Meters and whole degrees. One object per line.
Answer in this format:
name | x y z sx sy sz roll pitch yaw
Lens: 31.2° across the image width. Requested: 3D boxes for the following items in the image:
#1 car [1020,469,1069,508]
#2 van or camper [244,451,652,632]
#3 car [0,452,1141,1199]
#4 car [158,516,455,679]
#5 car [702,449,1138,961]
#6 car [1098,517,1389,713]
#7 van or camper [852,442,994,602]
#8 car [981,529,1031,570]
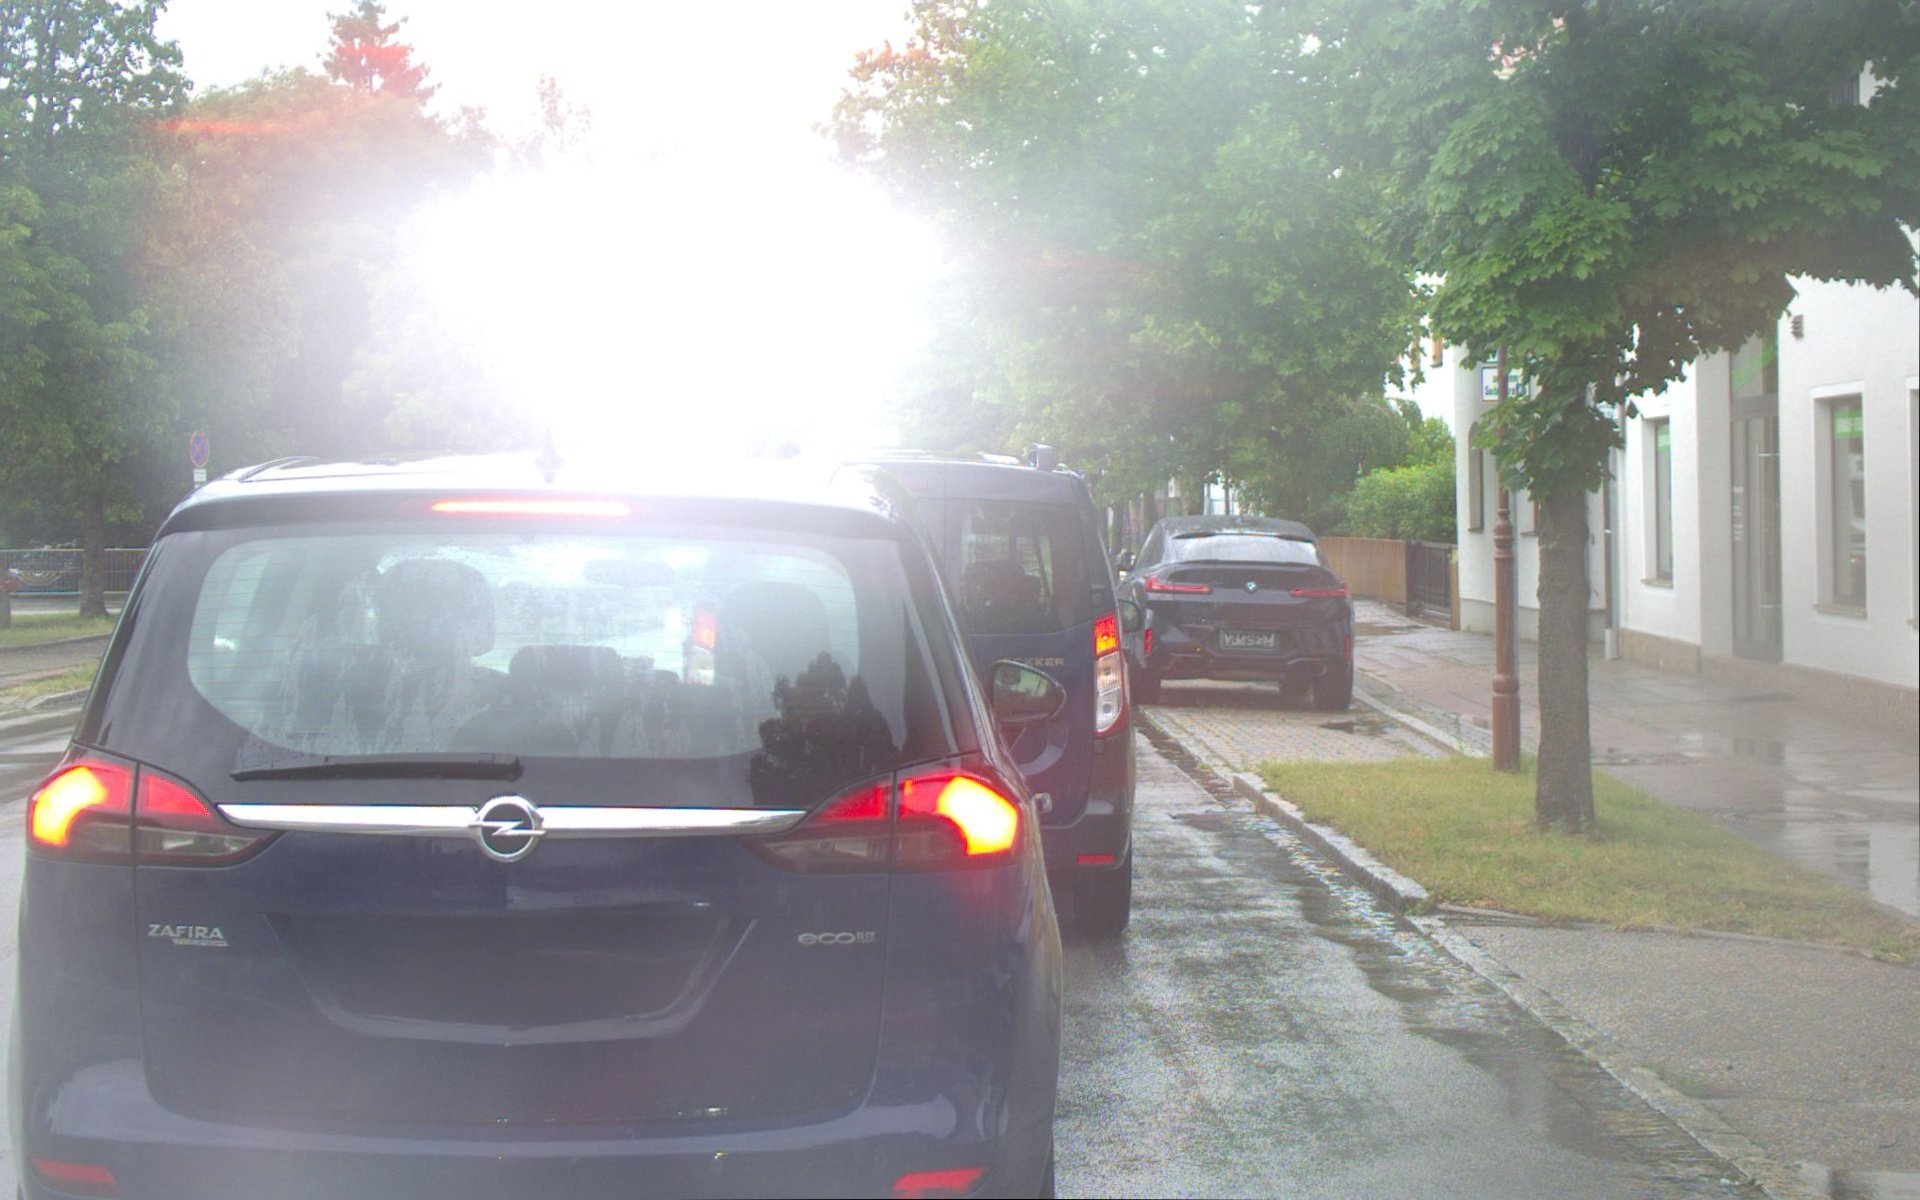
car | 3.139 -4.148 128.246 1.630 1.373 3.623 -2 1 -1
van or camper | -8.009 -0.898 53.571 6.257 2.698 2.098 0 1 28
car | -0.635 0.543 7.100 1.768 1.599 3.663 1 1 -1
car | -6.143 -0.064 32.771 1.996 1.402 3.884 -2 1 1
car | -0.156 0.335 13.564 1.500 1.770 3.112 1 1 -1
car | 2.401 0.091 30.084 2.117 1.575 3.936 1 1 -1
van or camper | -0.649 -1.375 60.645 2.360 2.656 5.372 -1 1 -1
car | 1.583 -1.755 119.021 1.630 1.373 3.623 1 1 -1
